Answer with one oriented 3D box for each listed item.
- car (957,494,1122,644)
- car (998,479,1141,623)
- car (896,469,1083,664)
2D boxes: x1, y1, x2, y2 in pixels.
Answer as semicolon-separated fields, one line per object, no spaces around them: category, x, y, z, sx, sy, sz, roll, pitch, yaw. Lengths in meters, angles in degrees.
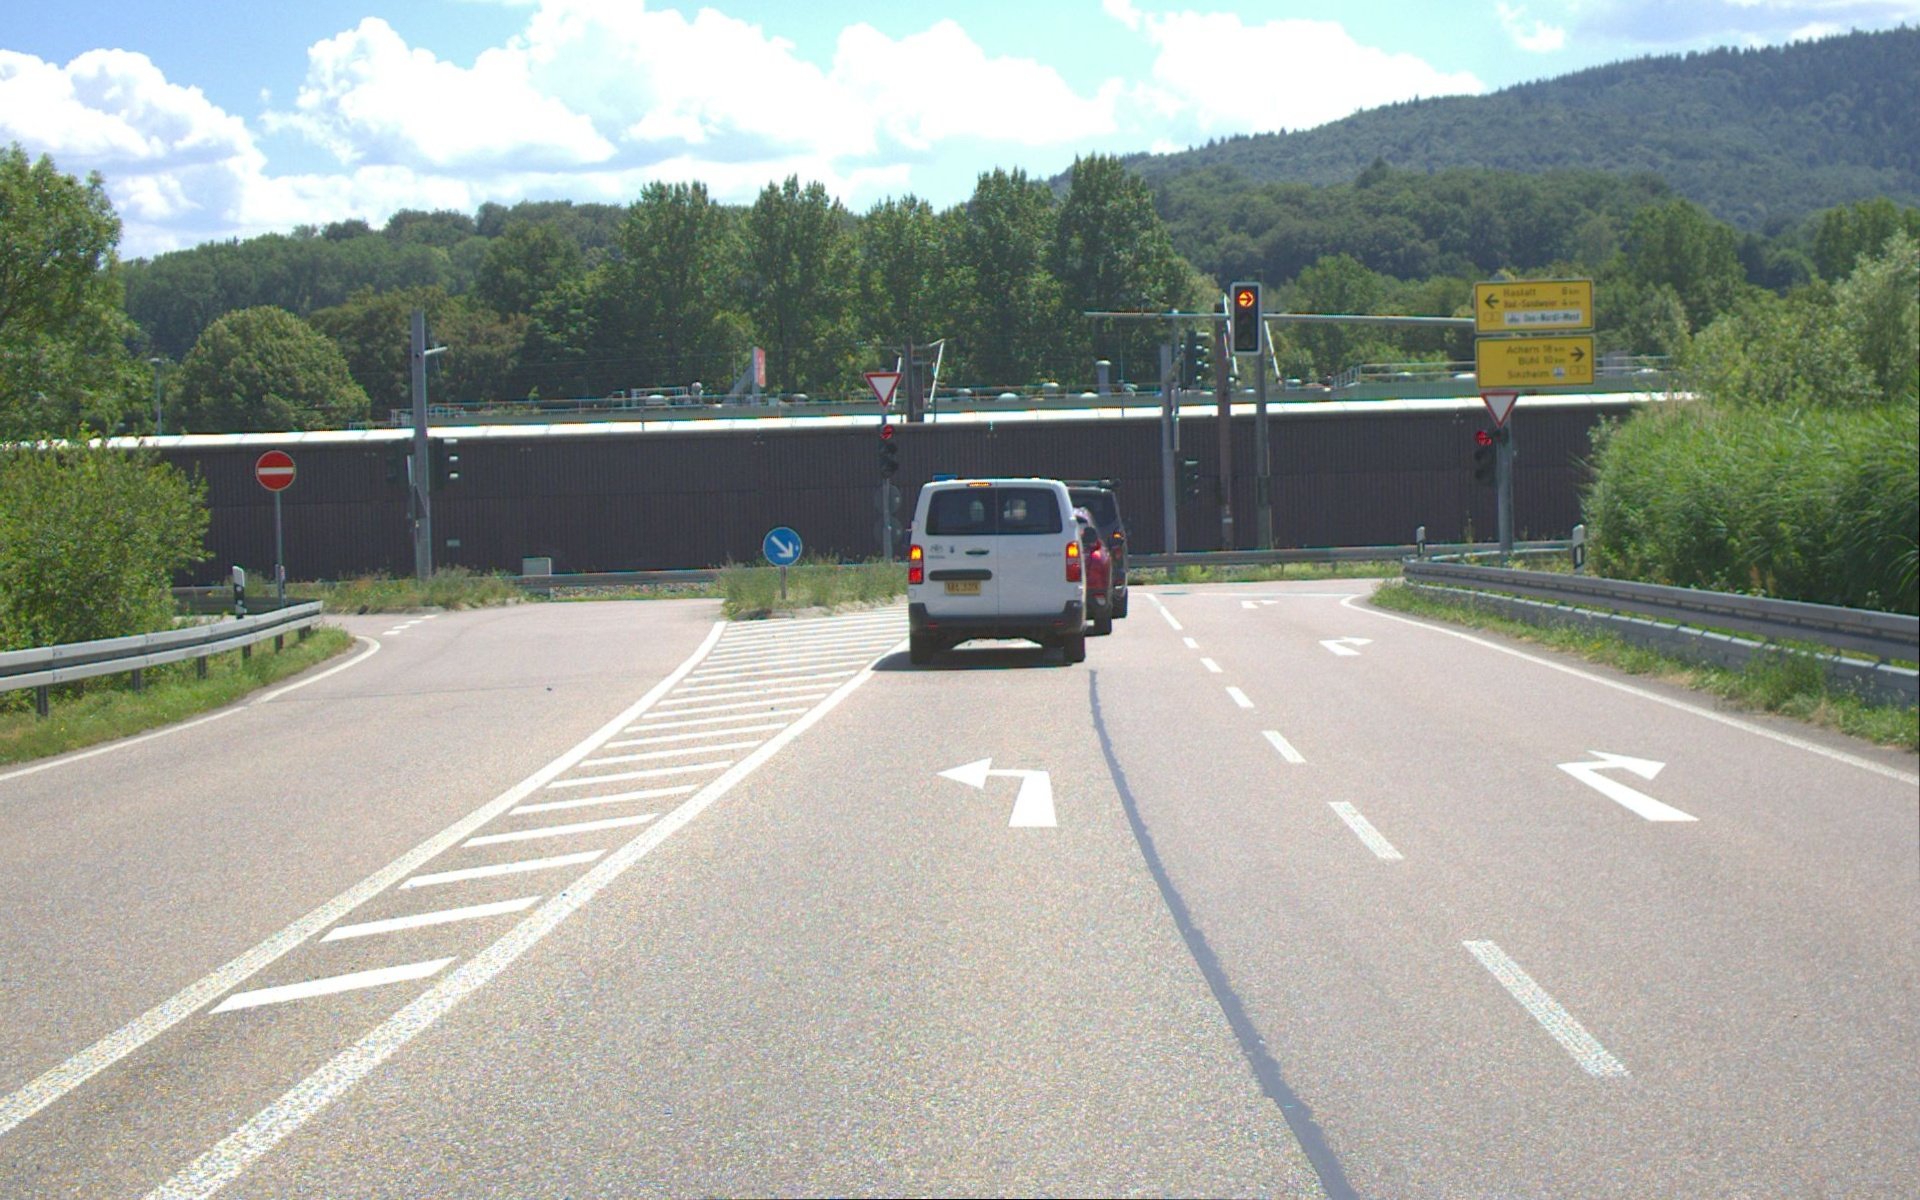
car;1.077;-0.429;45.423;1.994;1.806;4.000;-3;1;2
car;1.672;-0.761;52.316;1.994;2.006;4.000;-3;1;2
car;0.357;-0.384;36.959;1.870;1.958;4.000;-1;1;2
